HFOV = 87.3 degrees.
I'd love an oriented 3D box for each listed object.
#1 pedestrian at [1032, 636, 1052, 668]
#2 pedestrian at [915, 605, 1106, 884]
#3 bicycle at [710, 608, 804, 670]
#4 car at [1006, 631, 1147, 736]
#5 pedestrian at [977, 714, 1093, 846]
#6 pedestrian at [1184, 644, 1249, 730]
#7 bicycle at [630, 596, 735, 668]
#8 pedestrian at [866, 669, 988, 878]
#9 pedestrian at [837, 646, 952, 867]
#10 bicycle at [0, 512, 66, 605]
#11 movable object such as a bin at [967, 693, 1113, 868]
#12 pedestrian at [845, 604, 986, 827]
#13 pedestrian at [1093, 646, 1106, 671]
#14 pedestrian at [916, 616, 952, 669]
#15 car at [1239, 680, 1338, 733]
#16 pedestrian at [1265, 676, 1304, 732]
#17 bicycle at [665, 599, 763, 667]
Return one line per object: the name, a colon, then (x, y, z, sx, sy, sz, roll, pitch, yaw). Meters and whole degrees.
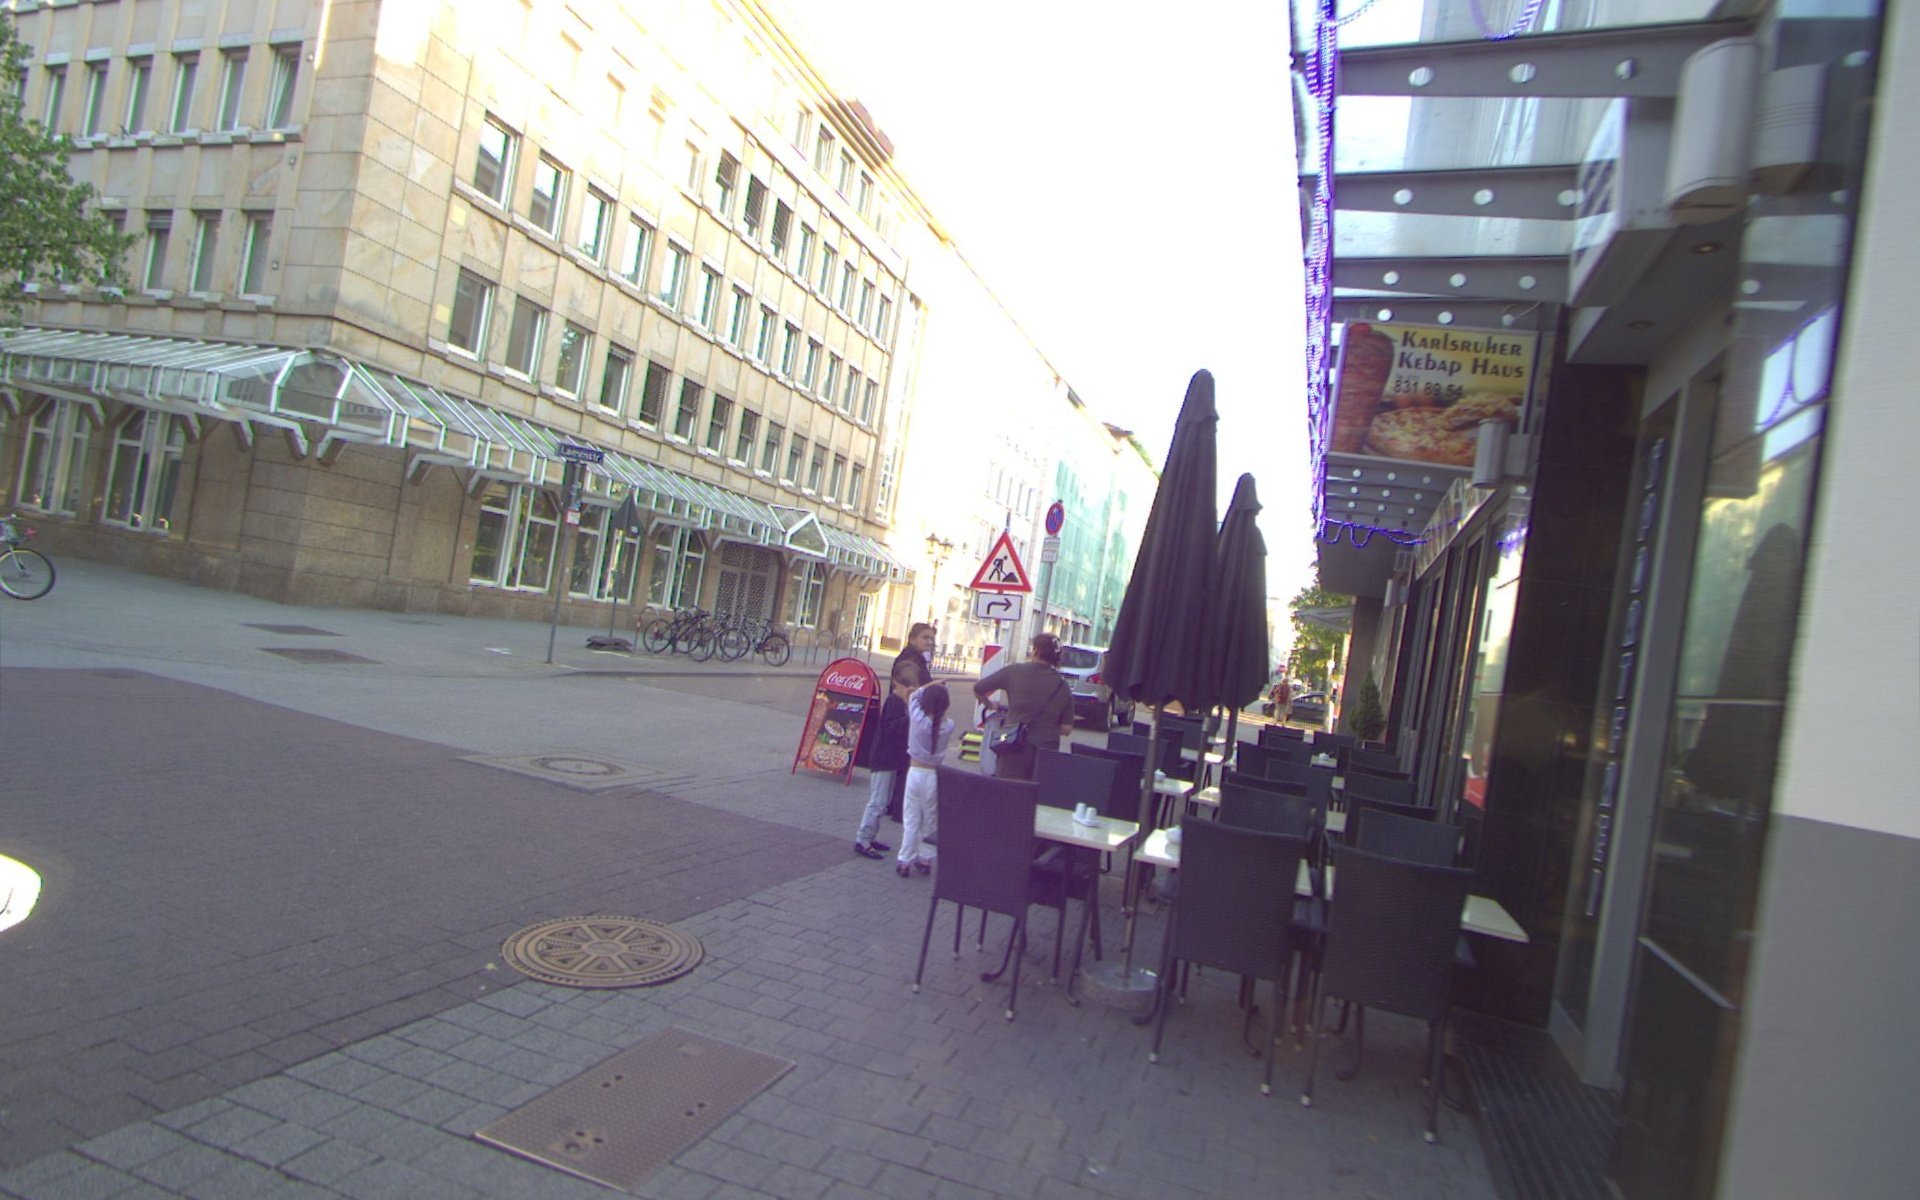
pedestrian: (4.412, 2.821, 54.223, 0.650, 1.591, 0.729, 9, -1, 20)
pedestrian: (0.327, 0.886, 6.375, 0.781, 1.553, 0.620, 9, -1, 31)
bicycle: (-4.514, 0.862, 22.369, 1.913, 1.040, 0.513, 9, 0, 19)
car: (2.436, 1.668, 20.161, 1.771, 1.607, 3.944, 9, -2, 20)
pedestrian: (0.533, 1.246, 7.070, 0.503, 0.801, 0.549, 8, -1, 32)
pedestrian: (6.453, 2.175, 25.381, 1.199, 1.960, 0.892, 9, -1, 5)
bicycle: (-5.499, 0.622, 19.895, 1.913, 1.063, 0.544, 10, 0, 22)
pedestrian: (-0.205, 1.024, 6.017, 0.406, 1.137, 0.470, 9, -1, -27)
pedestrian: (-0.435, 0.970, 6.462, 0.506, 1.261, 0.664, 9, -1, -7)
bicycle: (-12.237, -0.570, 12.412, 0.653, 1.064, 1.655, 10, 2, 38)
movable object such as a bin: (0.574, 1.233, 7.033, 0.578, 1.049, 0.798, 9, -1, 32)
pedestrian: (-0.361, 0.863, 7.765, 0.707, 1.548, 0.721, 9, -1, -16)
pedestrian: (7.434, 3.136, 53.667, 0.441, 1.268, 0.471, 9, -1, 21)
pedestrian: (-0.937, 1.537, 35.941, 0.758, 1.751, 0.916, 9, -1, 20)
car: (14.749, 4.769, 45.168, 3.903, 1.635, 1.853, 9, -1, 24)
pedestrian: (10.865, 3.473, 33.679, 0.925, 1.723, 0.891, 9, -1, 23)
bicycle: (-5.161, 0.696, 21.082, 1.913, 1.063, 0.544, 10, 0, 23)
